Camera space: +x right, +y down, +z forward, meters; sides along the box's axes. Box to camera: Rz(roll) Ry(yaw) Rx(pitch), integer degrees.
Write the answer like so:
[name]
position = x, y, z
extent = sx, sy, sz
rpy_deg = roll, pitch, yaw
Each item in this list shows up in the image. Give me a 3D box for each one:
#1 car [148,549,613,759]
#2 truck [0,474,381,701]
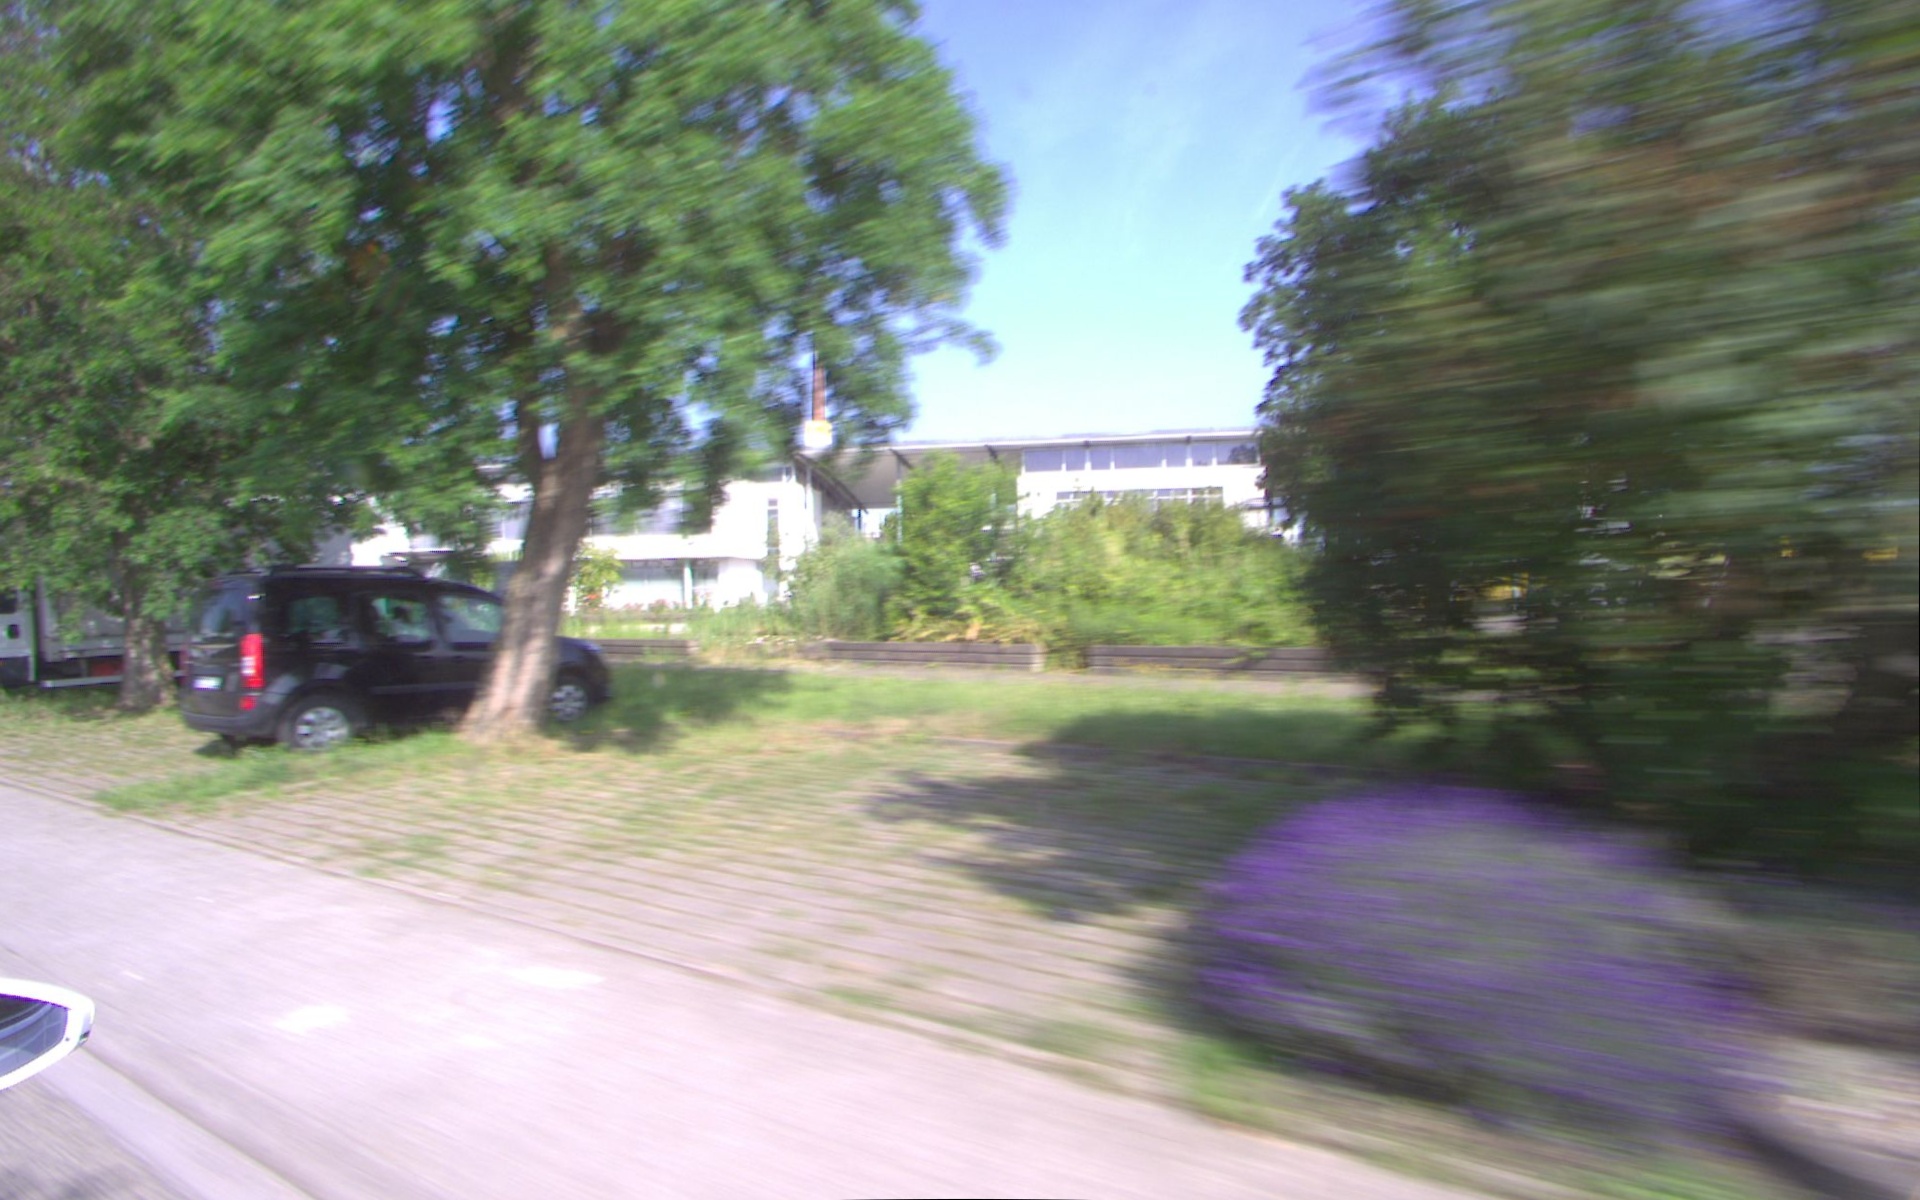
[car]
position = -6.154, 0.465, 11.071
extent = 1.973, 1.862, 3.975
rpy_deg = 0, 1, 34
[truck]
position = -14.791, -0.171, 17.036
extent = 2.702, 3.415, 8.190
rpy_deg = -1, 0, 32
